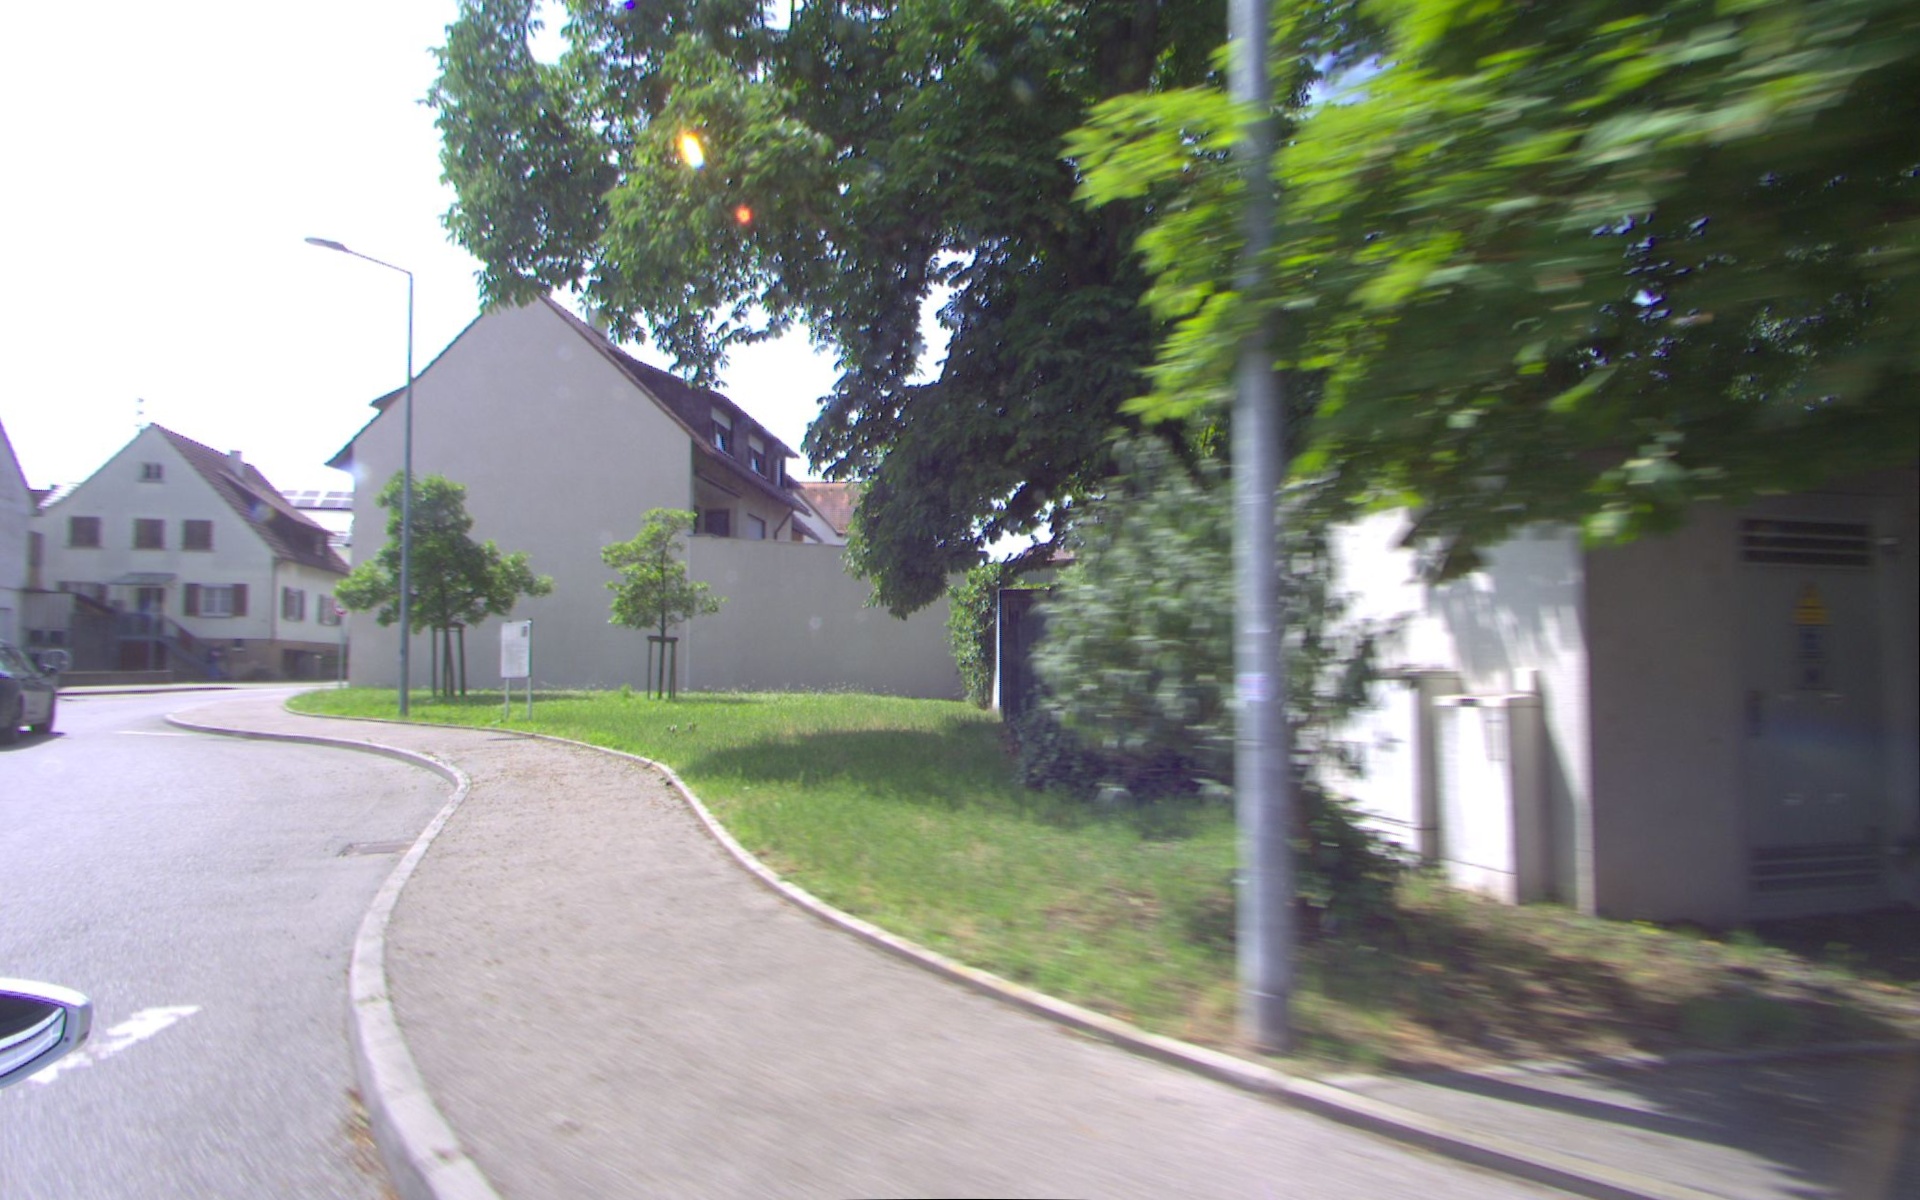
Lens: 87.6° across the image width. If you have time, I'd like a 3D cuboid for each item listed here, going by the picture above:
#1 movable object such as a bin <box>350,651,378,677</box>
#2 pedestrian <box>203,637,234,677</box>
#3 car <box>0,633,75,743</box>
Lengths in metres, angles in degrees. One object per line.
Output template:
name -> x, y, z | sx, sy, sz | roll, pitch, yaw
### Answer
movable object such as a bin -> -25.394, 2.721, 42.651 | 0.778, 1.070, 0.651 | 0, -2, 0
pedestrian -> -29.890, 2.297, 40.377 | 0.764, 1.594, 0.628 | 1, -2, -5
car -> -14.558, 1.199, 14.630 | 1.824, 1.437, 4.652 | 3, -3, -35
